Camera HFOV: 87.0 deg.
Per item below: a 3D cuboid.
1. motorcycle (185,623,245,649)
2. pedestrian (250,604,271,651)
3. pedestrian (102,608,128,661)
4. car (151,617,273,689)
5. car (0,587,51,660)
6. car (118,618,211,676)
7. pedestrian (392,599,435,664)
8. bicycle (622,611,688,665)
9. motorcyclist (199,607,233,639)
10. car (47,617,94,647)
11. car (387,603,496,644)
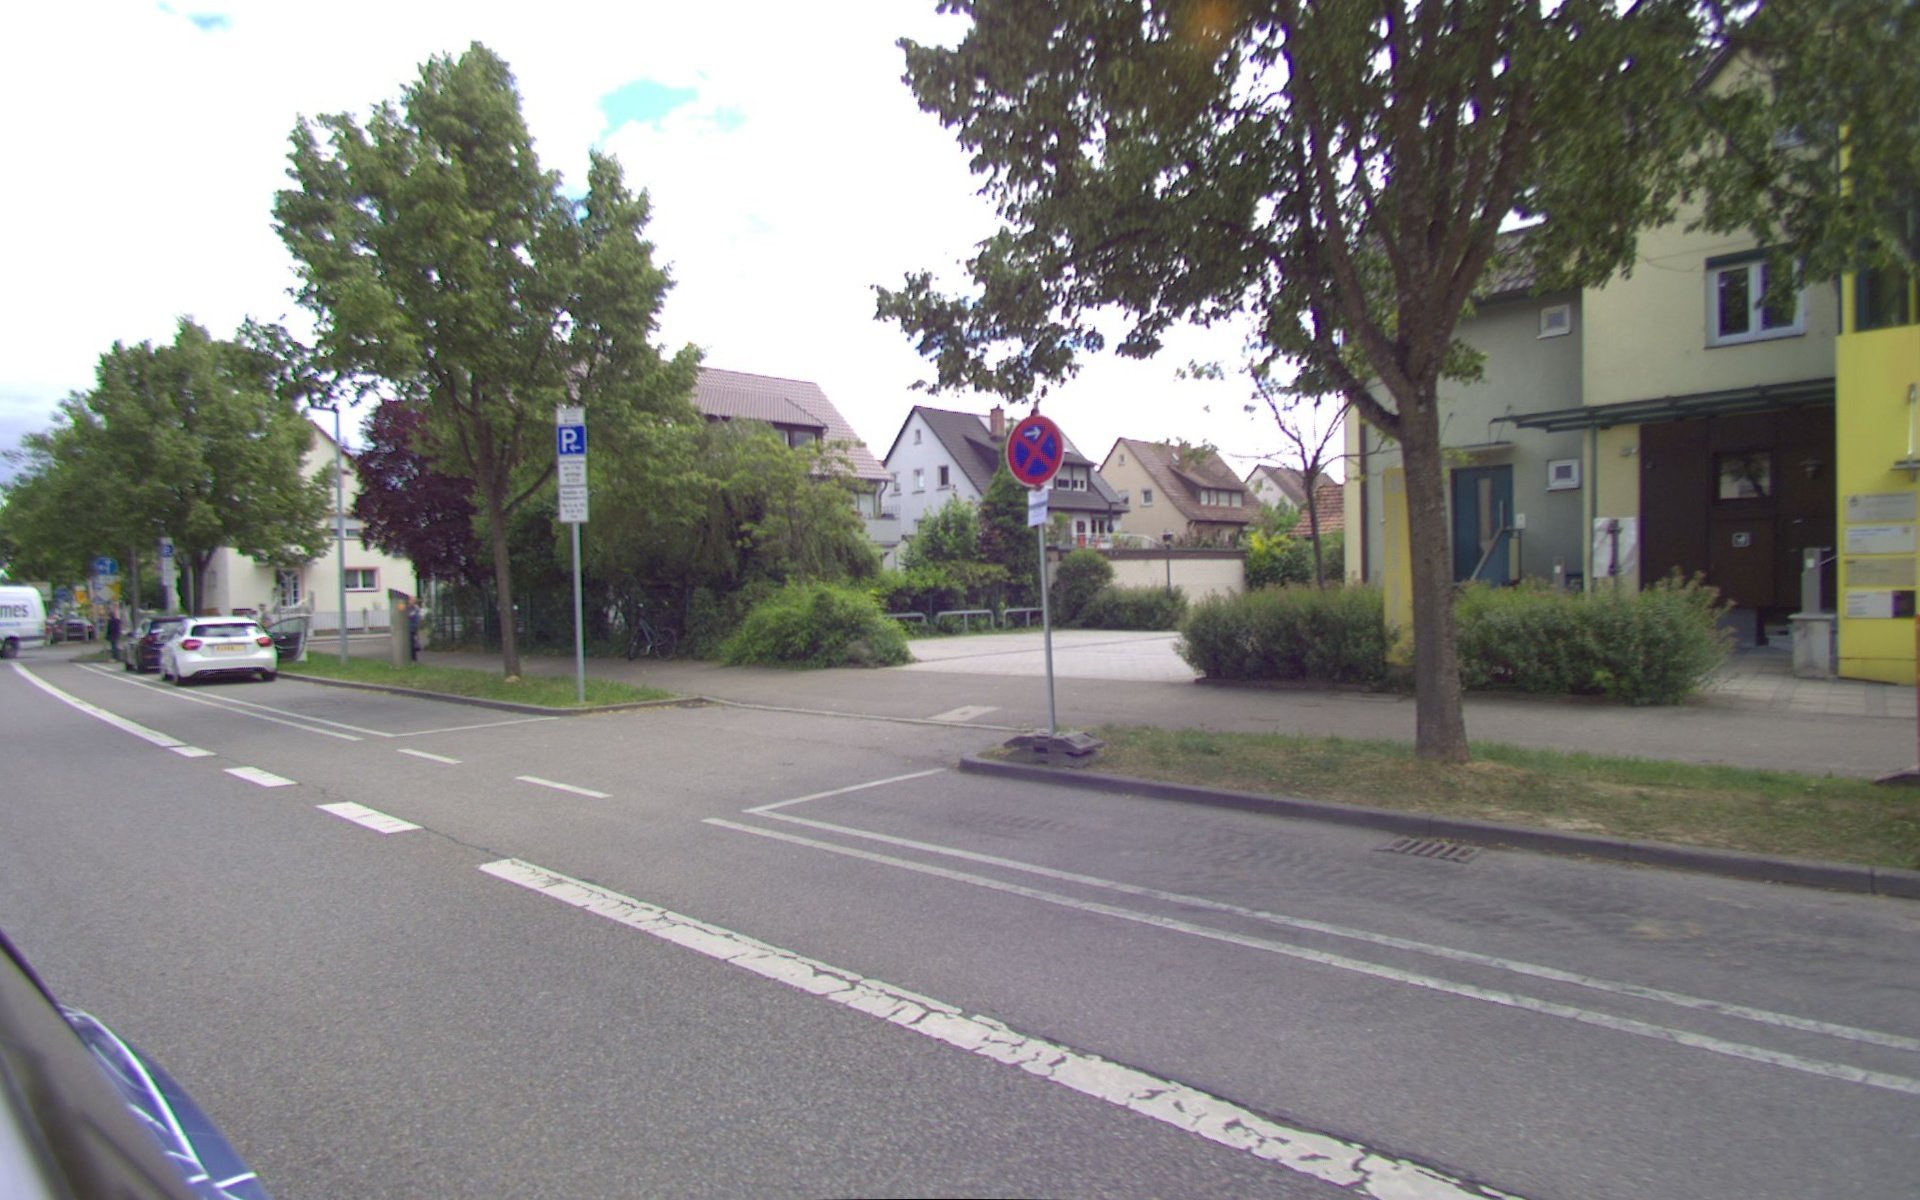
[{"bbox_3d":[-32.919,1.593,44.737,0.481,1.039,2.089,-1,0,43],"label":"motorcycle"},{"bbox_3d":[-23.976,0.937,34.692,0.425,1.563,0.807,-2,1,-45],"label":"pedestrian"},{"bbox_3d":[-27.426,1.119,32.840,0.535,1.693,0.752,-3,0,-36],"label":"pedestrian"},{"bbox_3d":[-16.748,1.103,22.576,1.694,1.417,4.304,-1,0,-43],"label":"car"},{"bbox_3d":[-35.350,0.883,34.759,2.186,2.614,7.321,-1,0,-5],"label":"car"},{"bbox_3d":[-21.408,1.205,27.168,1.623,1.431,4.024,0,-1,-43],"label":"car"},{"bbox_3d":[-13.268,0.766,24.576,0.691,1.540,0.582,-1,0,9],"label":"pedestrian"},{"bbox_3d":[-6.340,0.778,21.002,1.580,1.056,0.458,-1,0,38],"label":"bicycle"},{"bbox_3d":[-32.901,1.025,44.736,0.754,1.375,1.094,-1,0,43],"label":"motorcyclist"},{"bbox_3d":[-47.468,1.695,53.961,1.711,1.480,4.305,-1,-1,-44],"label":"car"},{"bbox_3d":[-24.999,1.082,48.883,1.872,1.791,4.302,1,1,42],"label":"car"}]
